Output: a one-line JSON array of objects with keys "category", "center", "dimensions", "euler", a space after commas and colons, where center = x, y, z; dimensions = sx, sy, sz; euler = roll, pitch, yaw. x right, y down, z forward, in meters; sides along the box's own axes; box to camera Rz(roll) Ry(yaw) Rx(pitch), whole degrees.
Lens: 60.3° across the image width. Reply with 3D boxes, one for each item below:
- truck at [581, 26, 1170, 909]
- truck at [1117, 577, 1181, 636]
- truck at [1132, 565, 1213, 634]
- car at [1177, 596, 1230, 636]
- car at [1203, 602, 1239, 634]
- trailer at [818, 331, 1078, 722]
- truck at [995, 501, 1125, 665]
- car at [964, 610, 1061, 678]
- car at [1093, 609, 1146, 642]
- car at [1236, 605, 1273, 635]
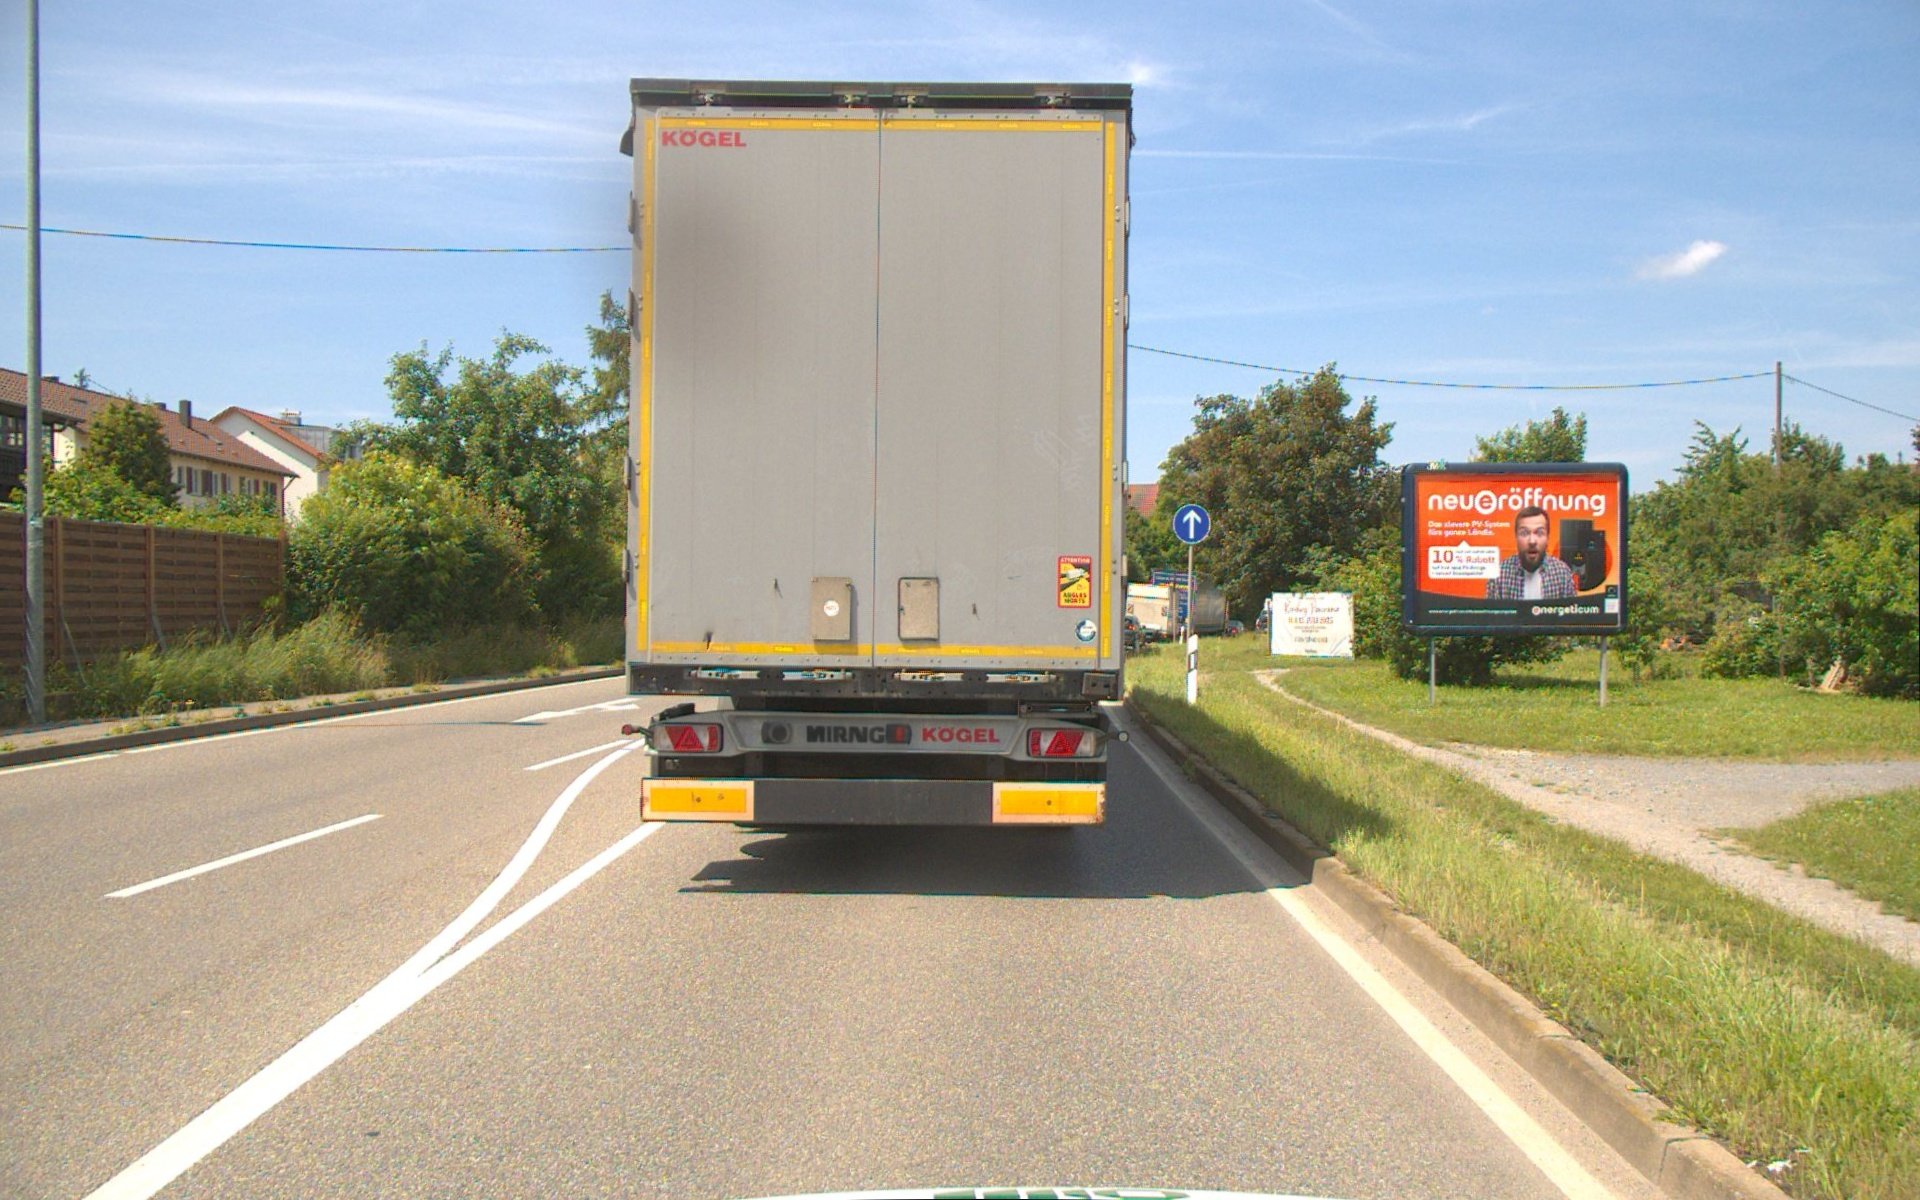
[{"category": "truck", "center": [-0.250, -0.673, 13.669], "dimensions": [2.763, 4.200, 11.446], "euler": [1, 0, 2]}, {"category": "truck", "center": [9.554, 0.363, 83.174], "dimensions": [2.489, 2.852, 6.036], "euler": [1, -1, 13]}, {"category": "truck", "center": [12.115, -0.080, 93.472], "dimensions": [3.360, 3.667, 9.361], "euler": [1, 1, 14]}, {"category": "car", "center": [15.057, 0.944, 102.060], "dimensions": [2.478, 2.317, 6.386], "euler": [1, 0, 15]}, {"category": "car", "center": [17.541, 1.199, 111.041], "dimensions": [1.951, 2.049, 4.003], "euler": [1, -1, 15]}, {"category": "trailer", "center": [-0.042, -0.810, 21.112], "dimensions": [2.767, 4.183, 6.545], "euler": [1, 0, 2]}, {"category": "truck", "center": [3.515, -0.347, 52.779], "dimensions": [2.701, 4.364, 16.427], "euler": [1, -1, 8]}, {"category": "car", "center": [1.197, 0.941, 36.111], "dimensions": [1.780, 1.370, 3.850], "euler": [1, -1, 7]}, {"category": "car", "center": [7.205, 1.157, 74.482], "dimensions": [1.951, 1.400, 4.003], "euler": [1, -1, 11]}, {"category": "car", "center": [21.251, 1.448, 119.104], "dimensions": [1.952, 2.049, 4.001], "euler": [1, -1, 20]}]
